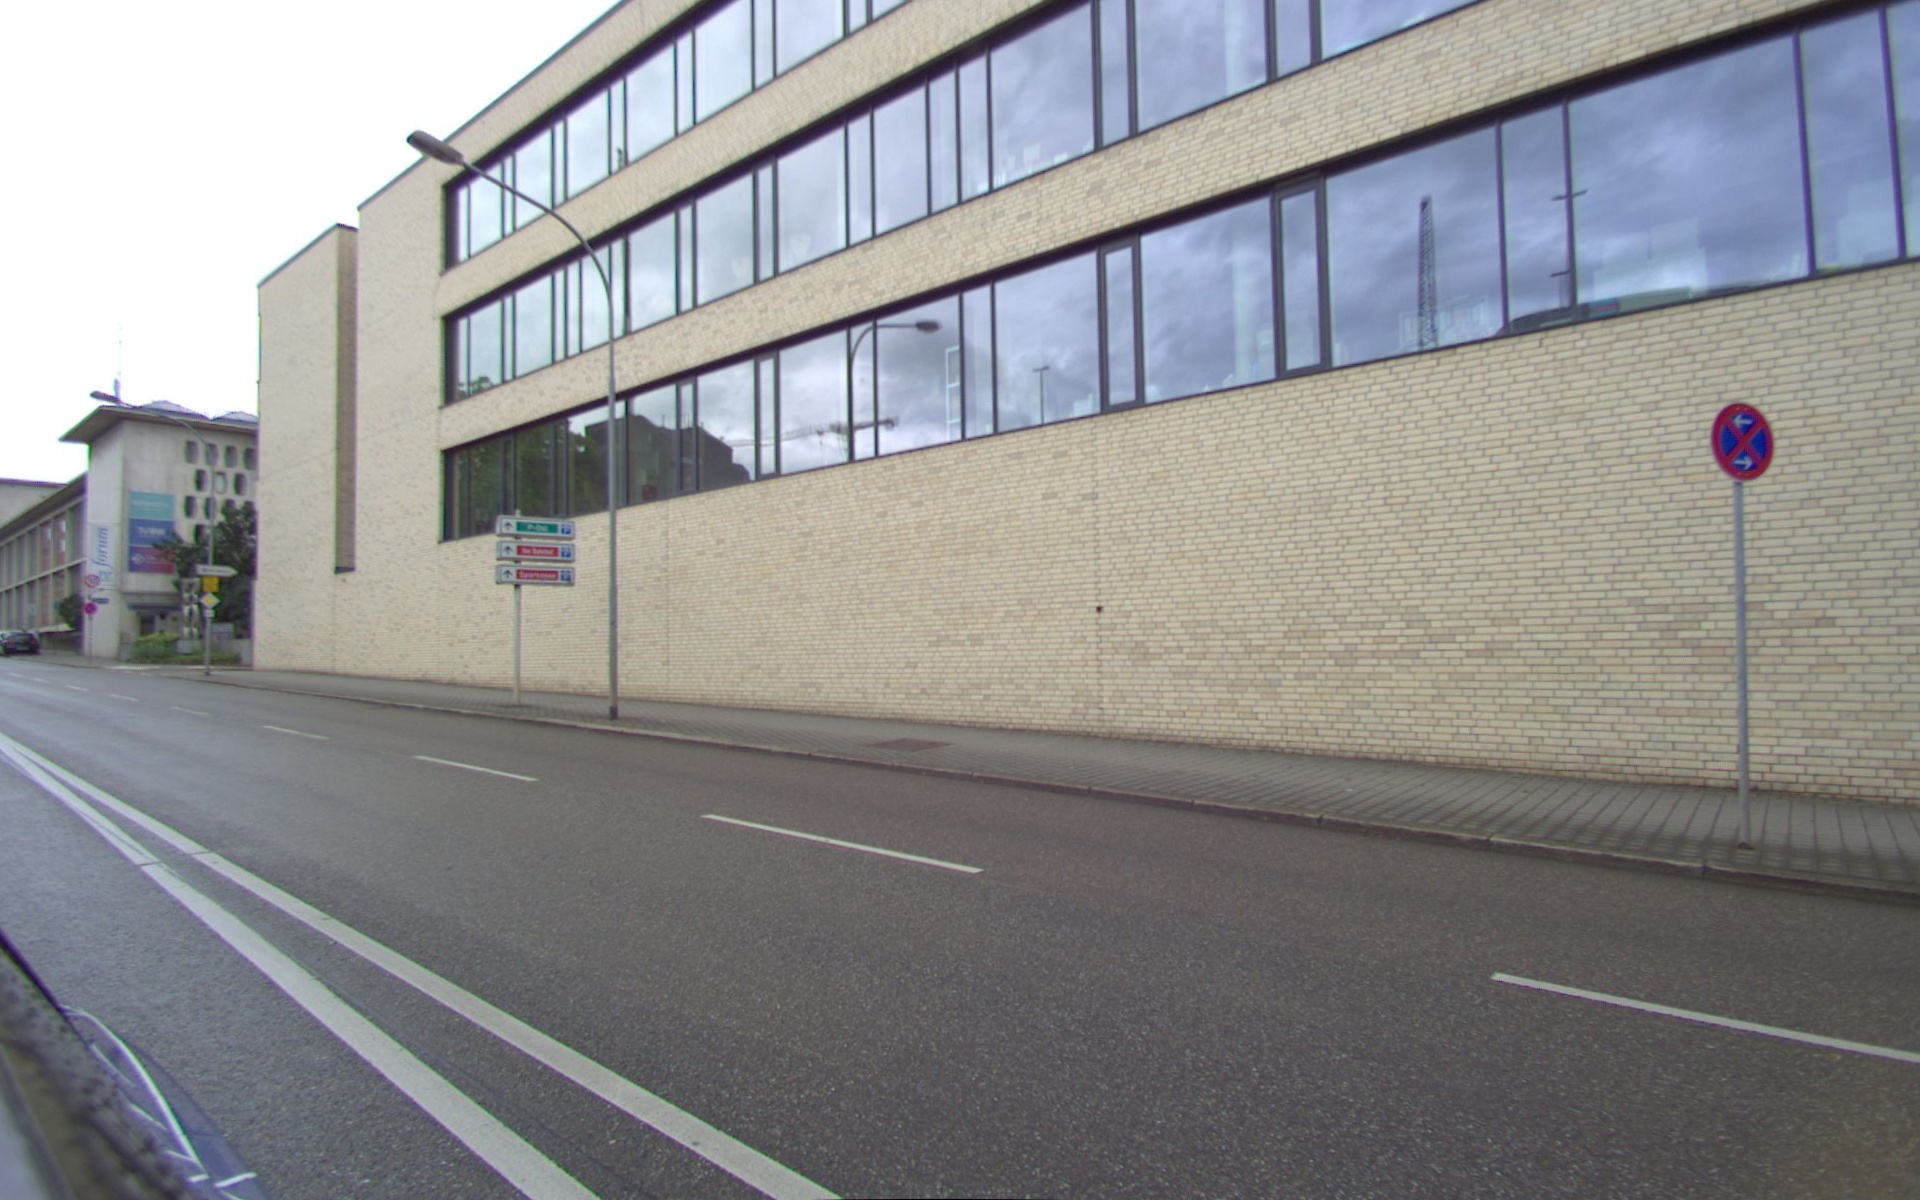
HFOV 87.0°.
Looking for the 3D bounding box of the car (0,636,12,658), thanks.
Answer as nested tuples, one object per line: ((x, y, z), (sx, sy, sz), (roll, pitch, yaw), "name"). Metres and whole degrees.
((-71.575, 3.501, 74.688), (4.184, 1.502, 1.973), (-1, 0, 41), "car")

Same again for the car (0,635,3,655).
((-76.114, 3.581, 78.666), (3.997, 1.541, 1.974), (-1, 3, 40), "car")

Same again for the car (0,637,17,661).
((-67.876, 3.461, 71.136), (3.999, 1.523, 1.972), (-1, 0, 42), "car")

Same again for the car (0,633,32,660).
((-63.732, 3.124, 67.675), (3.998, 1.654, 1.973), (-1, 0, 41), "car")

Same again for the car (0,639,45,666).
((-59.660, 3.295, 64.128), (3.997, 1.541, 1.973), (-1, 0, 40), "car")
